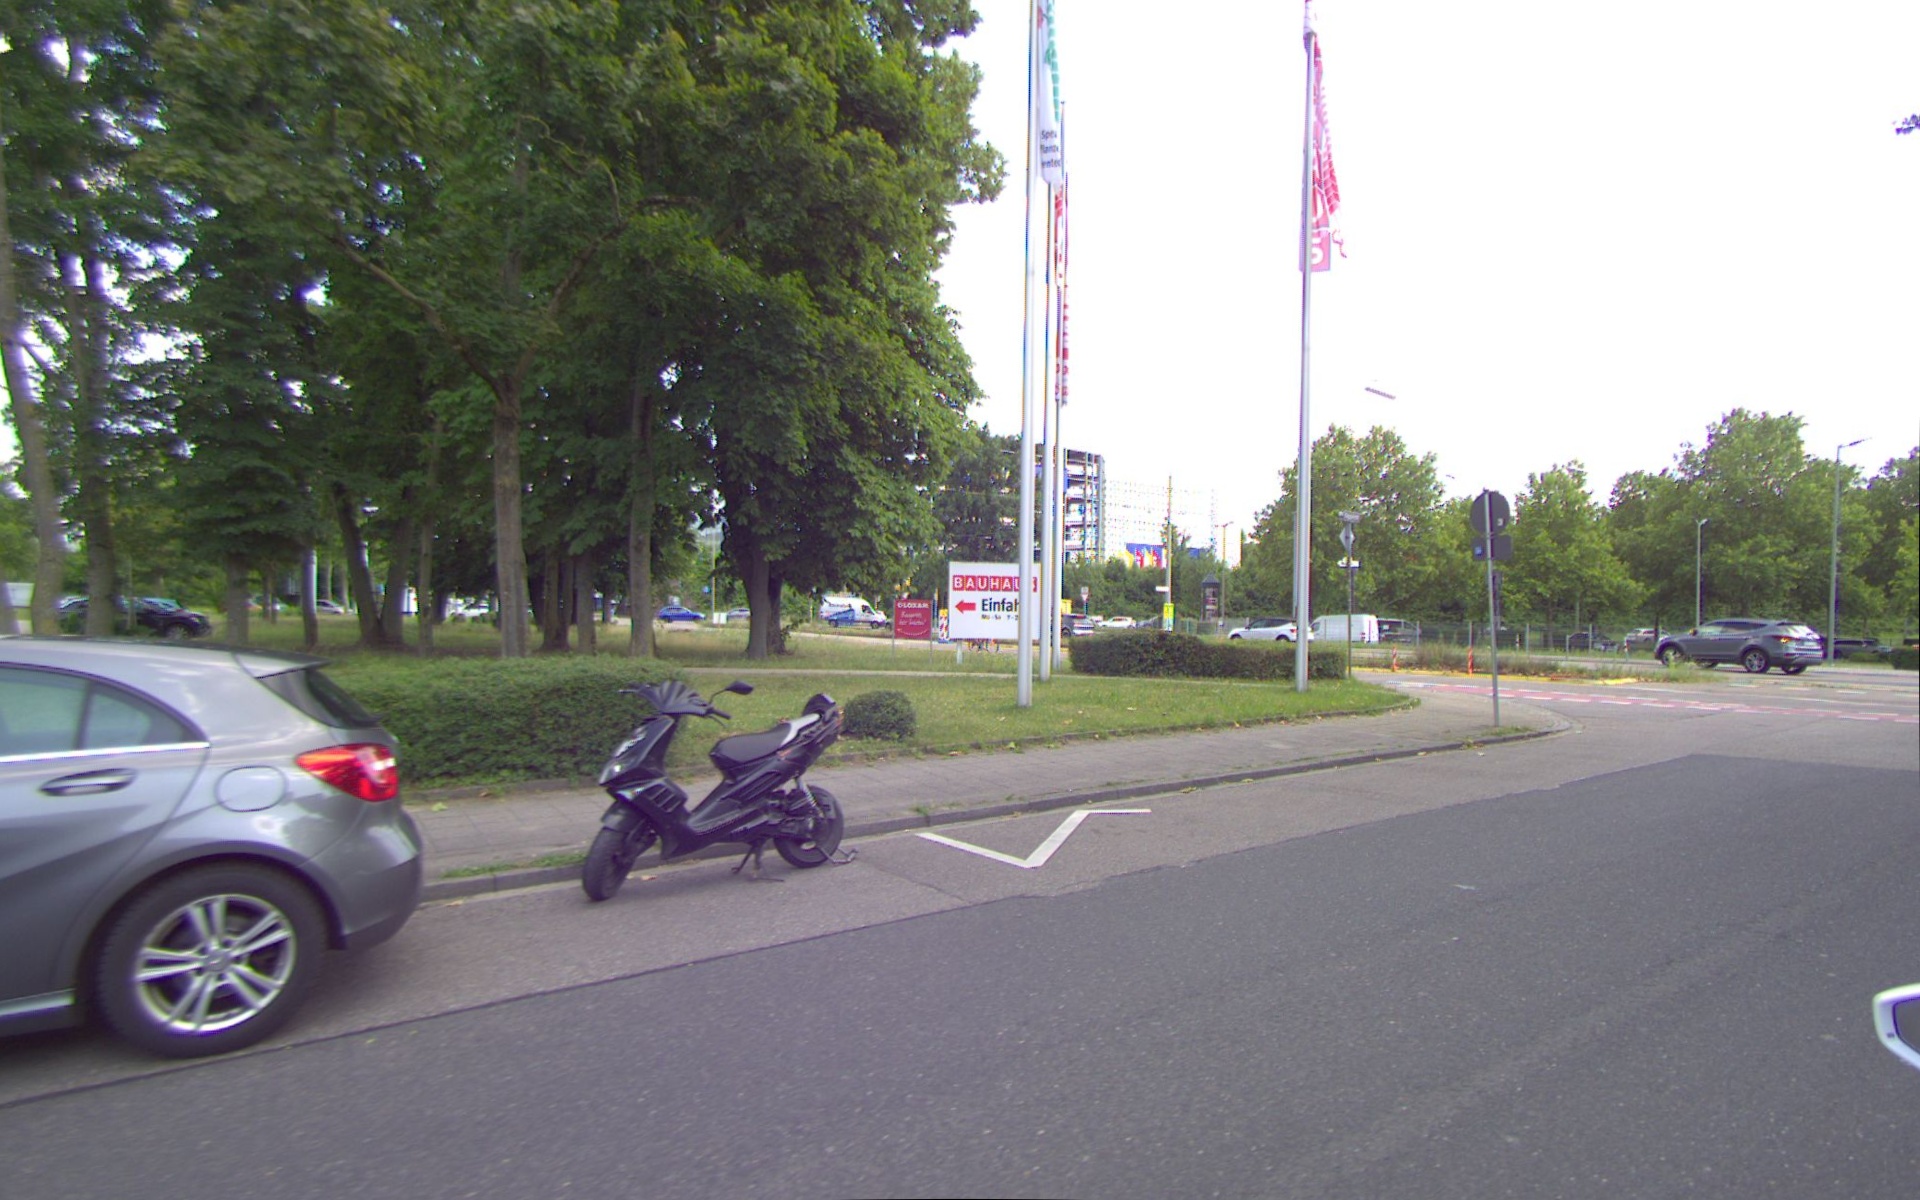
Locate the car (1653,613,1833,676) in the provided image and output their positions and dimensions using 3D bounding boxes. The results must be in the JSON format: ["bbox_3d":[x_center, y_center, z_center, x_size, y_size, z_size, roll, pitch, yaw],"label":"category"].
[{"bbox_3d":[25.313,1.389,32.658,1.938,1.840,4.256,1,0,-20],"label":"car"}]

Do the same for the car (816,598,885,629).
[{"bbox_3d":[-9.438,1.179,86.973,5.795,2.475,2.211,1,0,-2],"label":"car"}]

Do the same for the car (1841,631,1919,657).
[{"bbox_3d":[66.755,3.169,72.967,1.873,1.724,3.998,1,0,-4],"label":"car"}]

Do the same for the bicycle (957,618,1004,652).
[{"bbox_3d":[0.730,1.246,36.489,0.724,1.181,1.794,-1,0,-40],"label":"bicycle"}]

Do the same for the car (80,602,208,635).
[{"bbox_3d":[-37.063,0.841,45.786,4.369,1.431,1.979,2,0,-36],"label":"car"}]

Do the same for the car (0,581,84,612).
[{"bbox_3d":[-78.124,-0.258,84.962,5.795,2.475,2.366,1,0,-2],"label":"car"}]

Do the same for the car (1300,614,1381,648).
[{"bbox_3d":[27.035,2.167,71.507,1.782,2.240,5.244,2,-1,-39],"label":"car"}]

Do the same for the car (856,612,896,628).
[{"bbox_3d":[-8.334,1.990,99.476,3.834,1.523,1.874,1,0,-3],"label":"car"}]

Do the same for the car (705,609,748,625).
[{"bbox_3d":[-23.164,1.671,99.748,3.834,1.523,1.874,1,0,-3],"label":"car"}]

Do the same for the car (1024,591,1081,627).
[{"bbox_3d":[7.157,0.753,77.112,2.165,2.612,6.397,1,-1,27],"label":"car"}]

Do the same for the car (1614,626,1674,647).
[{"bbox_3d":[61.991,3.281,91.031,4.217,1.744,1.919,1,0,-3],"label":"car"}]

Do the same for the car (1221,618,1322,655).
[{"bbox_3d":[14.497,1.673,46.978,1.907,1.600,4.188,1,0,-38],"label":"car"}]

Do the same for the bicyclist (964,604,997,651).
[{"bbox_3d":[0.749,0.988,36.456,0.728,1.670,0.998,-1,0,-41],"label":"bicyclist"}]

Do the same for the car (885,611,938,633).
[{"bbox_3d":[-3.478,1.554,70.939,1.782,1.424,3.987,1,0,-38],"label":"car"}]

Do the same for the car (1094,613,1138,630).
[{"bbox_3d":[15.226,2.106,98.165,3.923,1.577,1.874,1,0,-3],"label":"car"}]

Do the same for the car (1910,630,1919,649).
[{"bbox_3d":[89.401,3.622,91.365,4.217,1.744,1.919,1,0,-3],"label":"car"}]

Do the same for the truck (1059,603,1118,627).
[{"bbox_3d":[12.881,1.484,101.072,5.625,2.319,2.033,1,0,-4],"label":"truck"}]

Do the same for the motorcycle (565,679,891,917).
[{"bbox_3d":[-1.334,1.076,5.942,1.785,1.153,0.617,1,-3,-36],"label":"motorcycle"}]

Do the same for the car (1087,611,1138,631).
[{"bbox_3d":[14.150,1.934,93.308,4.299,1.814,1.919,1,0,-3],"label":"car"}]

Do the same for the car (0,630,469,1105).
[{"bbox_3d":[-4.101,0.842,3.289,4.288,1.438,1.699,1,-3,-35],"label":"car"}]

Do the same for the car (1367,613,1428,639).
[{"bbox_3d":[38.166,2.266,87.727,4.482,2.164,1.860,1,0,-4],"label":"car"}]

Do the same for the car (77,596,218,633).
[{"bbox_3d":[-33.356,0.611,41.432,4.369,1.431,1.979,2,0,-36],"label":"car"}]

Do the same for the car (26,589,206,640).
[{"bbox_3d":[-26.978,0.483,32.319,4.317,1.531,1.557,2,-1,-37],"label":"car"}]

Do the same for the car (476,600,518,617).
[{"bbox_3d":[-52.345,0.940,113.623,3.921,1.808,1.892,1,-1,0],"label":"car"}]

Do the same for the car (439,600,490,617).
[{"bbox_3d":[-47.191,0.826,95.712,3.834,1.523,1.874,1,0,-3],"label":"car"}]

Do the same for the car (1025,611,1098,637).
[{"bbox_3d":[5.869,1.381,58.443,1.907,1.424,4.188,1,0,-38],"label":"car"}]

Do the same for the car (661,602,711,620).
[{"bbox_3d":[-24.161,0.972,88.774,3.923,1.532,1.919,1,0,-3],"label":"car"}]
